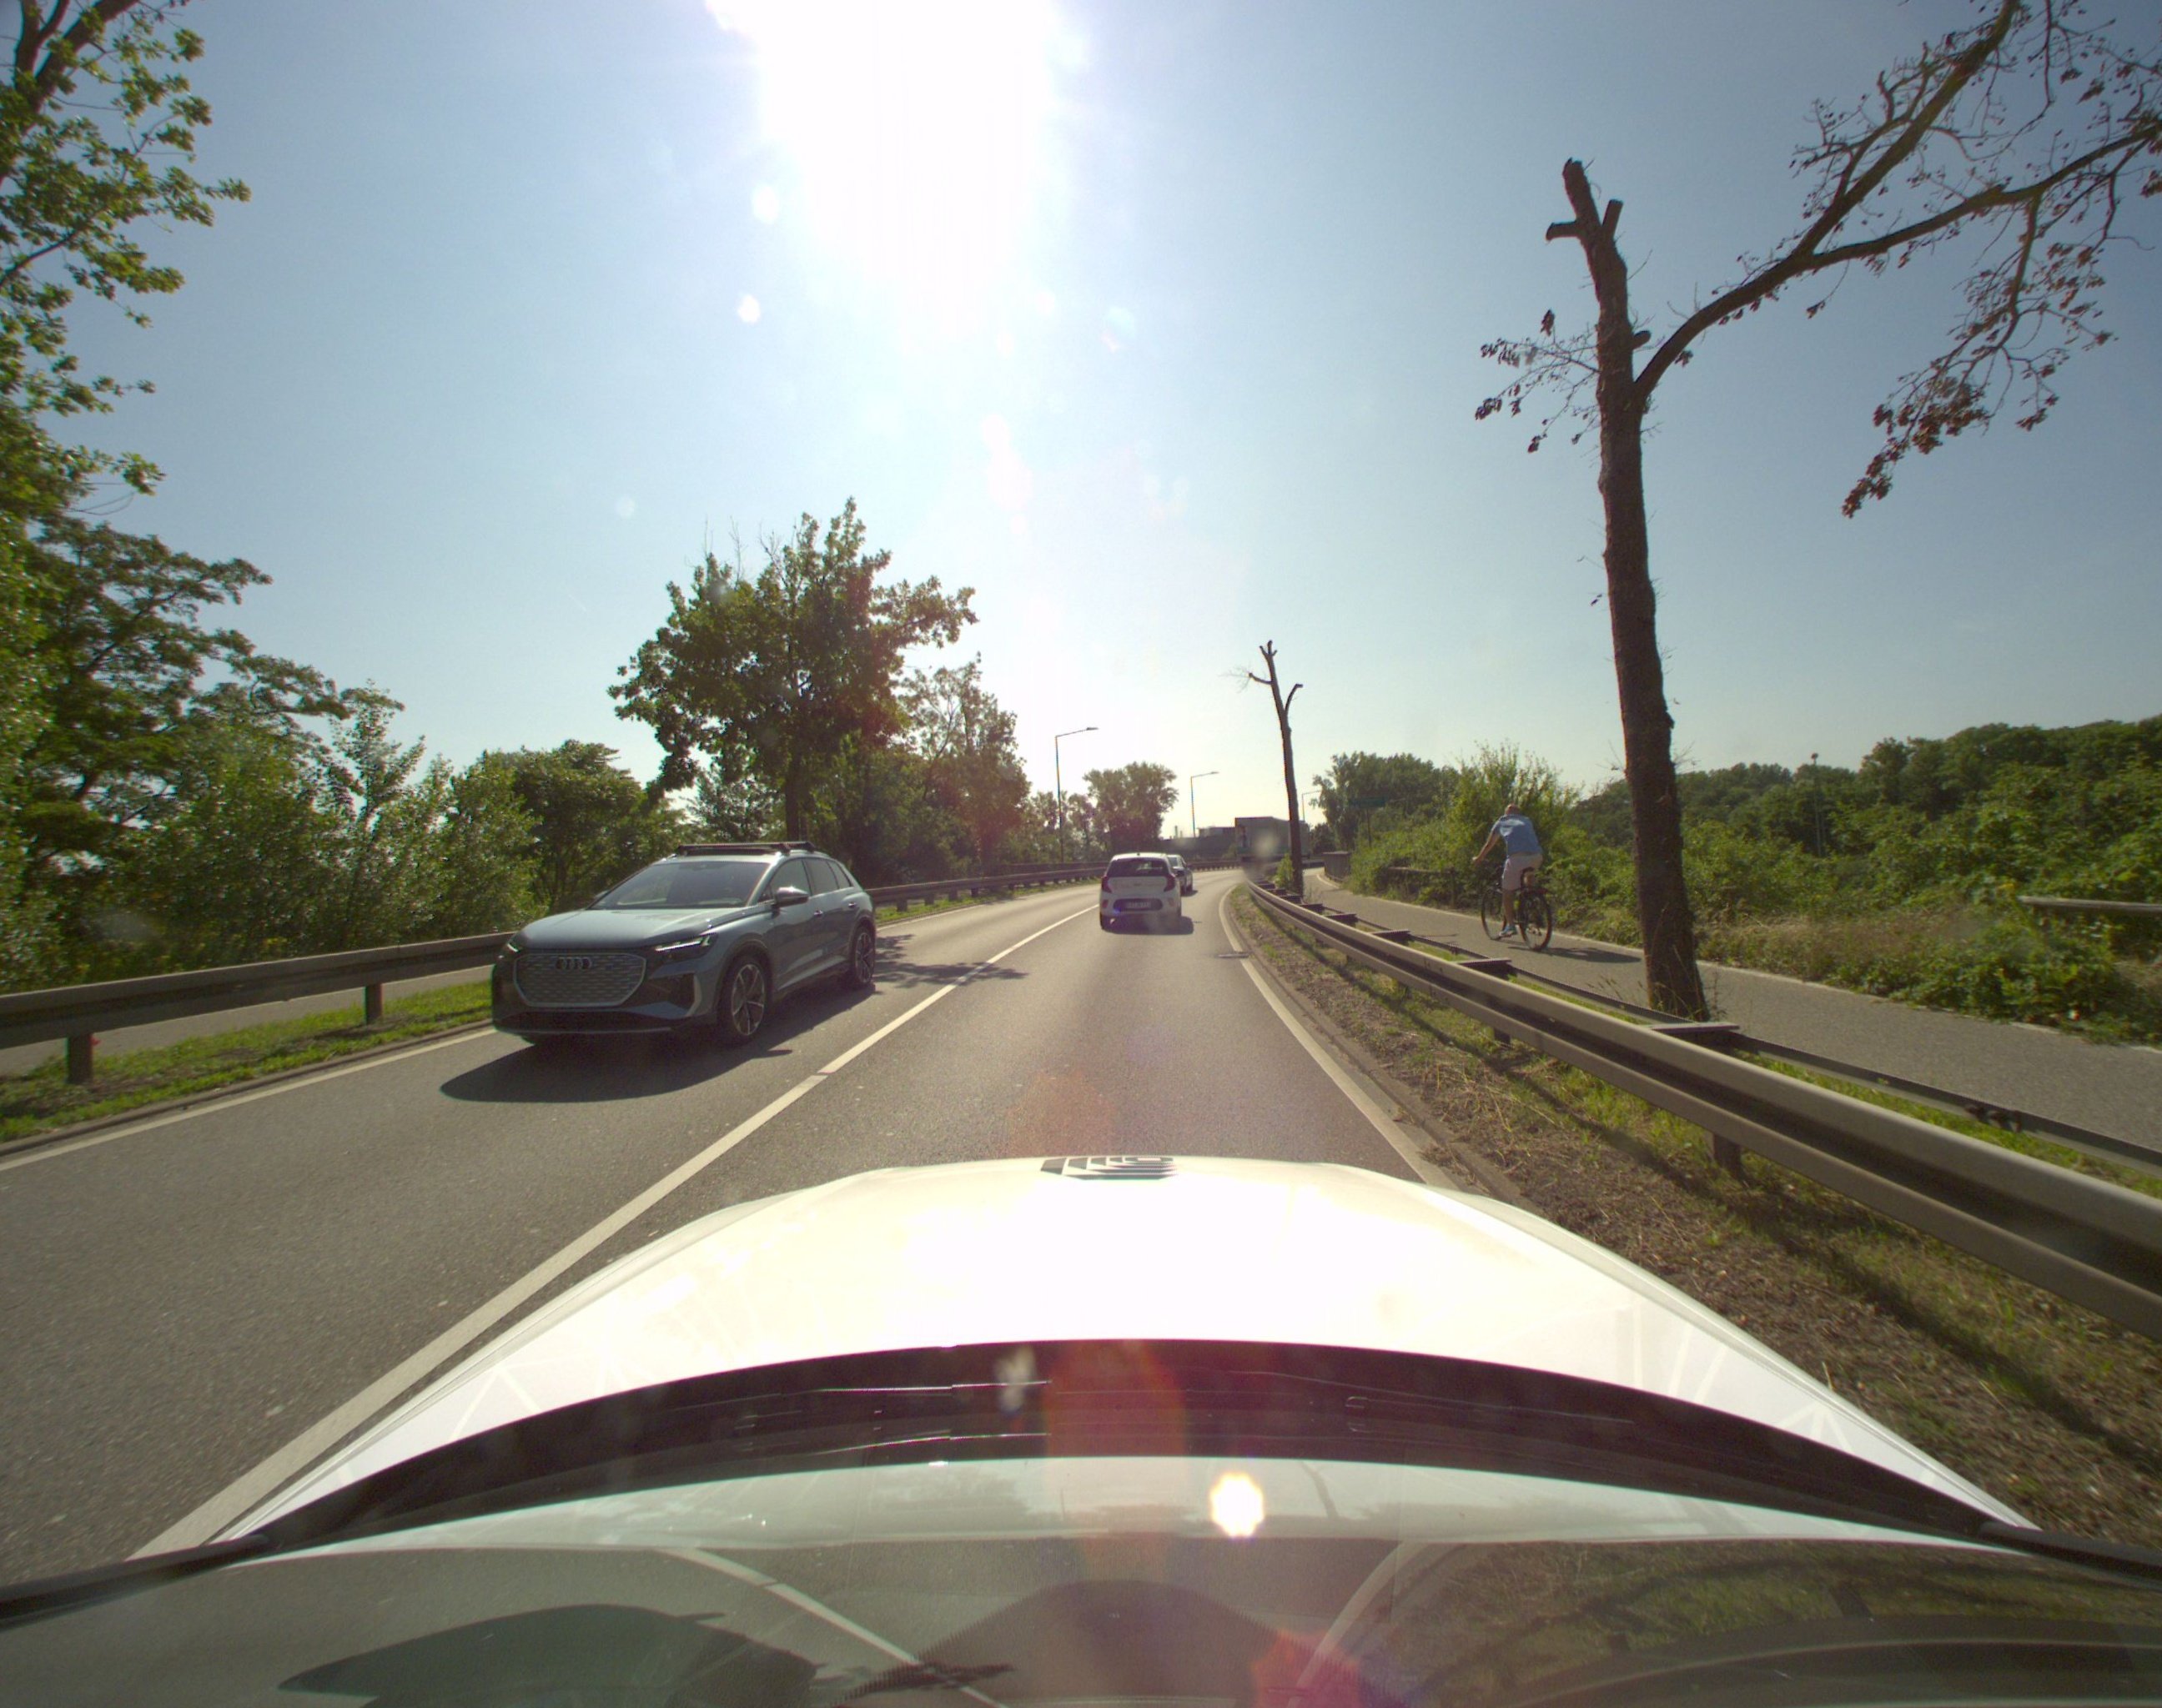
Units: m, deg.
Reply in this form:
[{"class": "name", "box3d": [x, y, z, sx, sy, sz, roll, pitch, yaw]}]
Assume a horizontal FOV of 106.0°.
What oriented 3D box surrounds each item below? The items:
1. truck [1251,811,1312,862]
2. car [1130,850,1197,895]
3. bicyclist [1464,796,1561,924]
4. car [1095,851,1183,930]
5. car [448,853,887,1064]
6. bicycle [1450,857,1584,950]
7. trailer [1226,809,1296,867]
[{"class": "truck", "box3d": [16.005, -1.441, 64.444, 3.231, 3.757, 8.419, 0, 2, 24]}, {"class": "car", "box3d": [3.126, 0.616, 30.034, 1.926, 1.486, 4.916, -1, 0, 11]}, {"class": "bicyclist", "box3d": [5.466, 0.079, 10.365, 0.656, 1.520, 0.803, -5, -1, 0]}, {"class": "car", "box3d": [1.374, 0.711, 17.821, 1.692, 1.494, 4.008, -1, 0, 7]}, {"class": "car", "box3d": [-3.564, 0.778, 8.063, 1.921, 1.533, 4.124, -1, 0, 5]}, {"class": "bicycle", "box3d": [5.527, 0.597, 10.464, 0.699, 1.020, 1.847, -5, -1, 2]}, {"class": "trailer", "box3d": [12.762, -1.174, 57.162, 3.195, 3.757, 7.870, 0, 2, 24]}]
